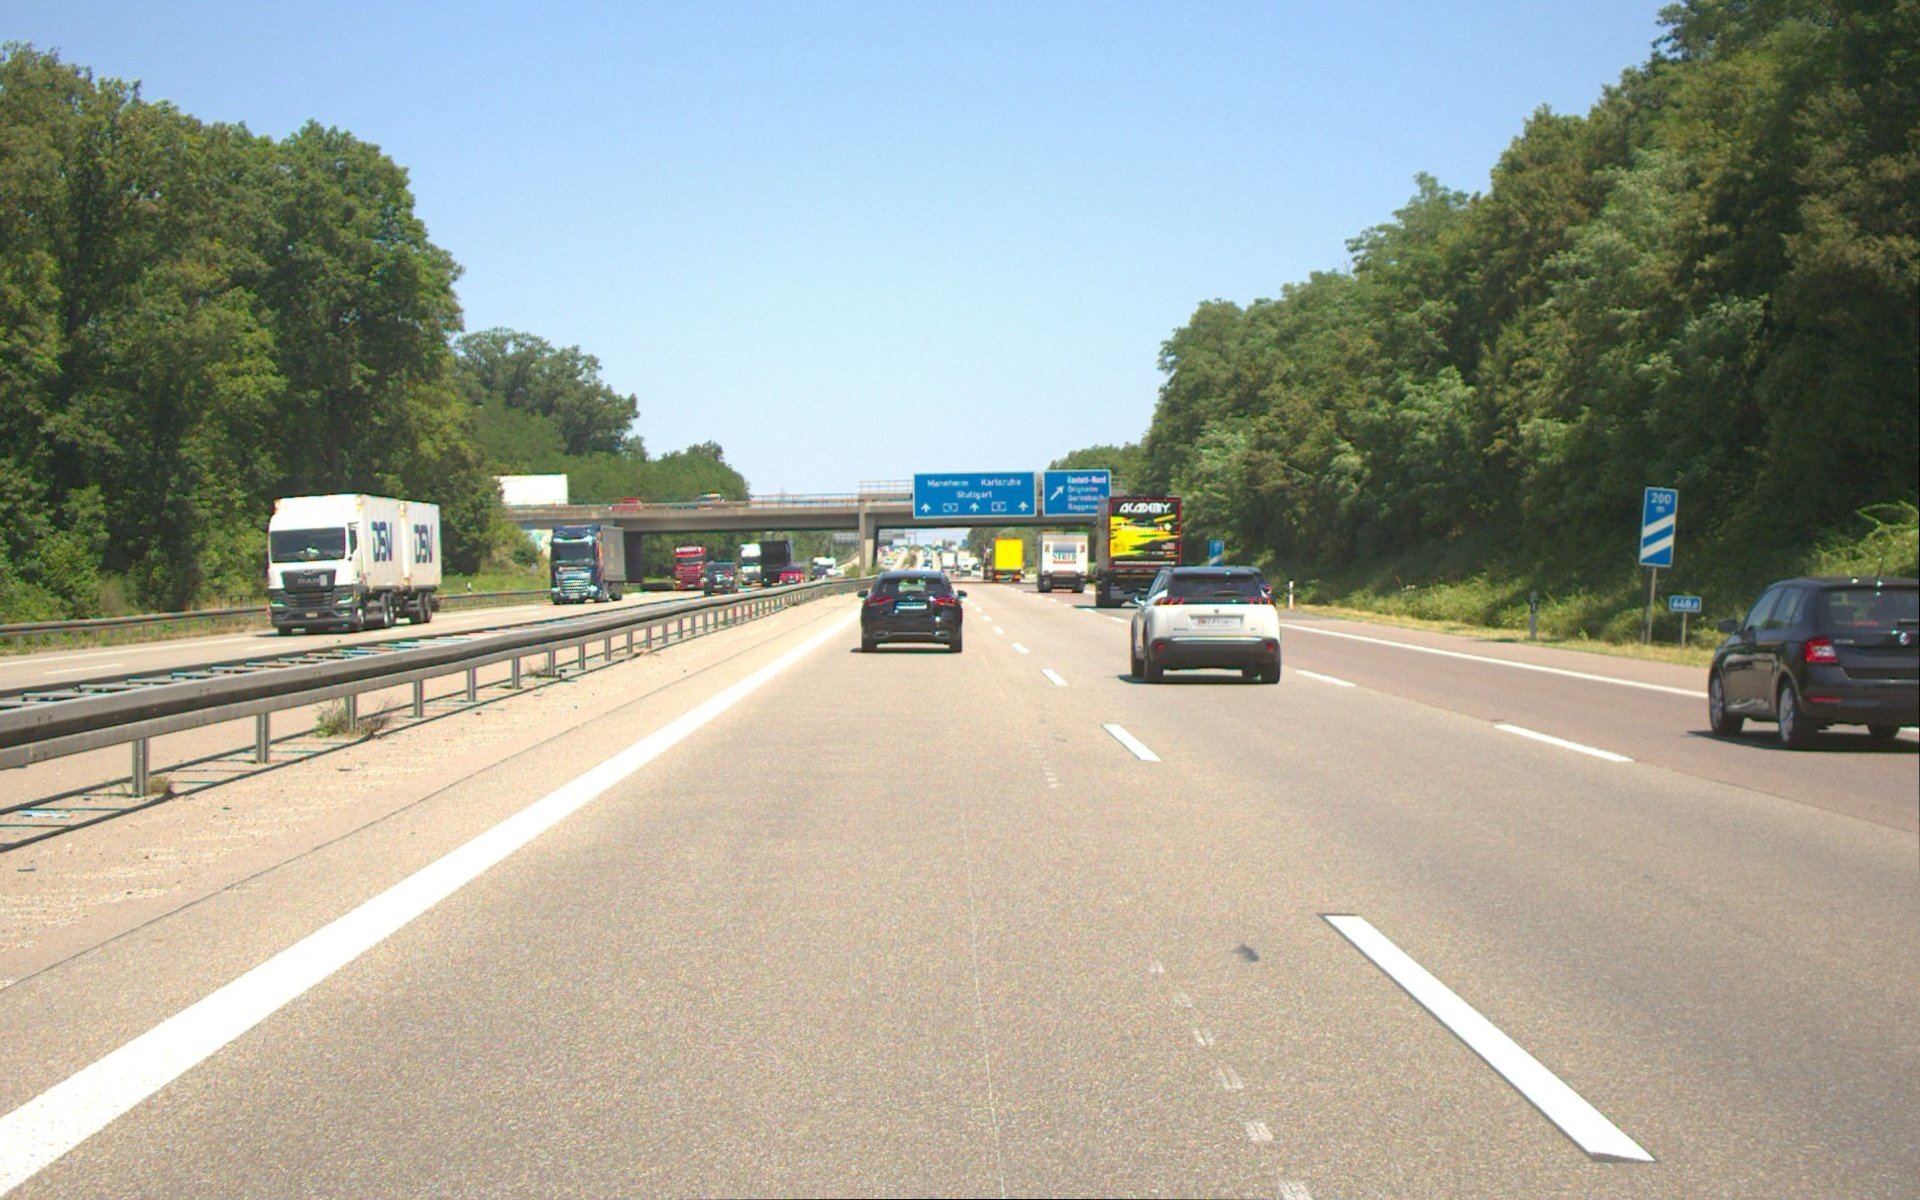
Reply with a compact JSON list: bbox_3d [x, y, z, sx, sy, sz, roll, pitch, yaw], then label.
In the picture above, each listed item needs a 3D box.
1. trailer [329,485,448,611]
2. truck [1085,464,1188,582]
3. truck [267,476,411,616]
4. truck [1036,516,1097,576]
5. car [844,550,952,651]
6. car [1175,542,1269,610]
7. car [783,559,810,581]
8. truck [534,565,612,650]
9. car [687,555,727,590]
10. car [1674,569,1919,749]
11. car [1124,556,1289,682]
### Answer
[{"bbox_3d":[-18.773,-1.679,113.395,2.578,3.976,8.560,1,0,-1],"label":"trailer"},{"bbox_3d":[6.341,-2.733,125.070,2.975,4.023,10.982,2,0,0],"label":"truck"},{"bbox_3d":[-18.671,-1.591,103.936,2.580,3.994,10.339,1,0,-1],"label":"truck"},{"bbox_3d":[6.111,-3.029,196.487,3.028,3.308,10.769,1,0,4],"label":"truck"},{"bbox_3d":[-1.091,-0.011,60.946,1.827,1.700,4.000,1,0,-1],"label":"car"},{"bbox_3d":[6.187,-0.573,81.508,1.870,1.551,4.201,1,0,0],"label":"car"},{"bbox_3d":[-11.917,-2.179,251.060,1.731,1.579,4.644,1,0,0],"label":"car"},{"bbox_3d":[-20.128,0.353,179.081,3.323,4.327,6.613,1,0,-1],"label":"truck"},{"bbox_3d":[-15.353,-1.657,209.031,1.993,2.007,5.359,-3,0,0],"label":"car"},{"bbox_3d":[7.577,0.465,30.033,1.670,1.442,4.574,1,0,-1],"label":"car"},{"bbox_3d":[3.262,0.224,46.272,1.827,1.602,4.809,0,0,-1],"label":"car"}]
